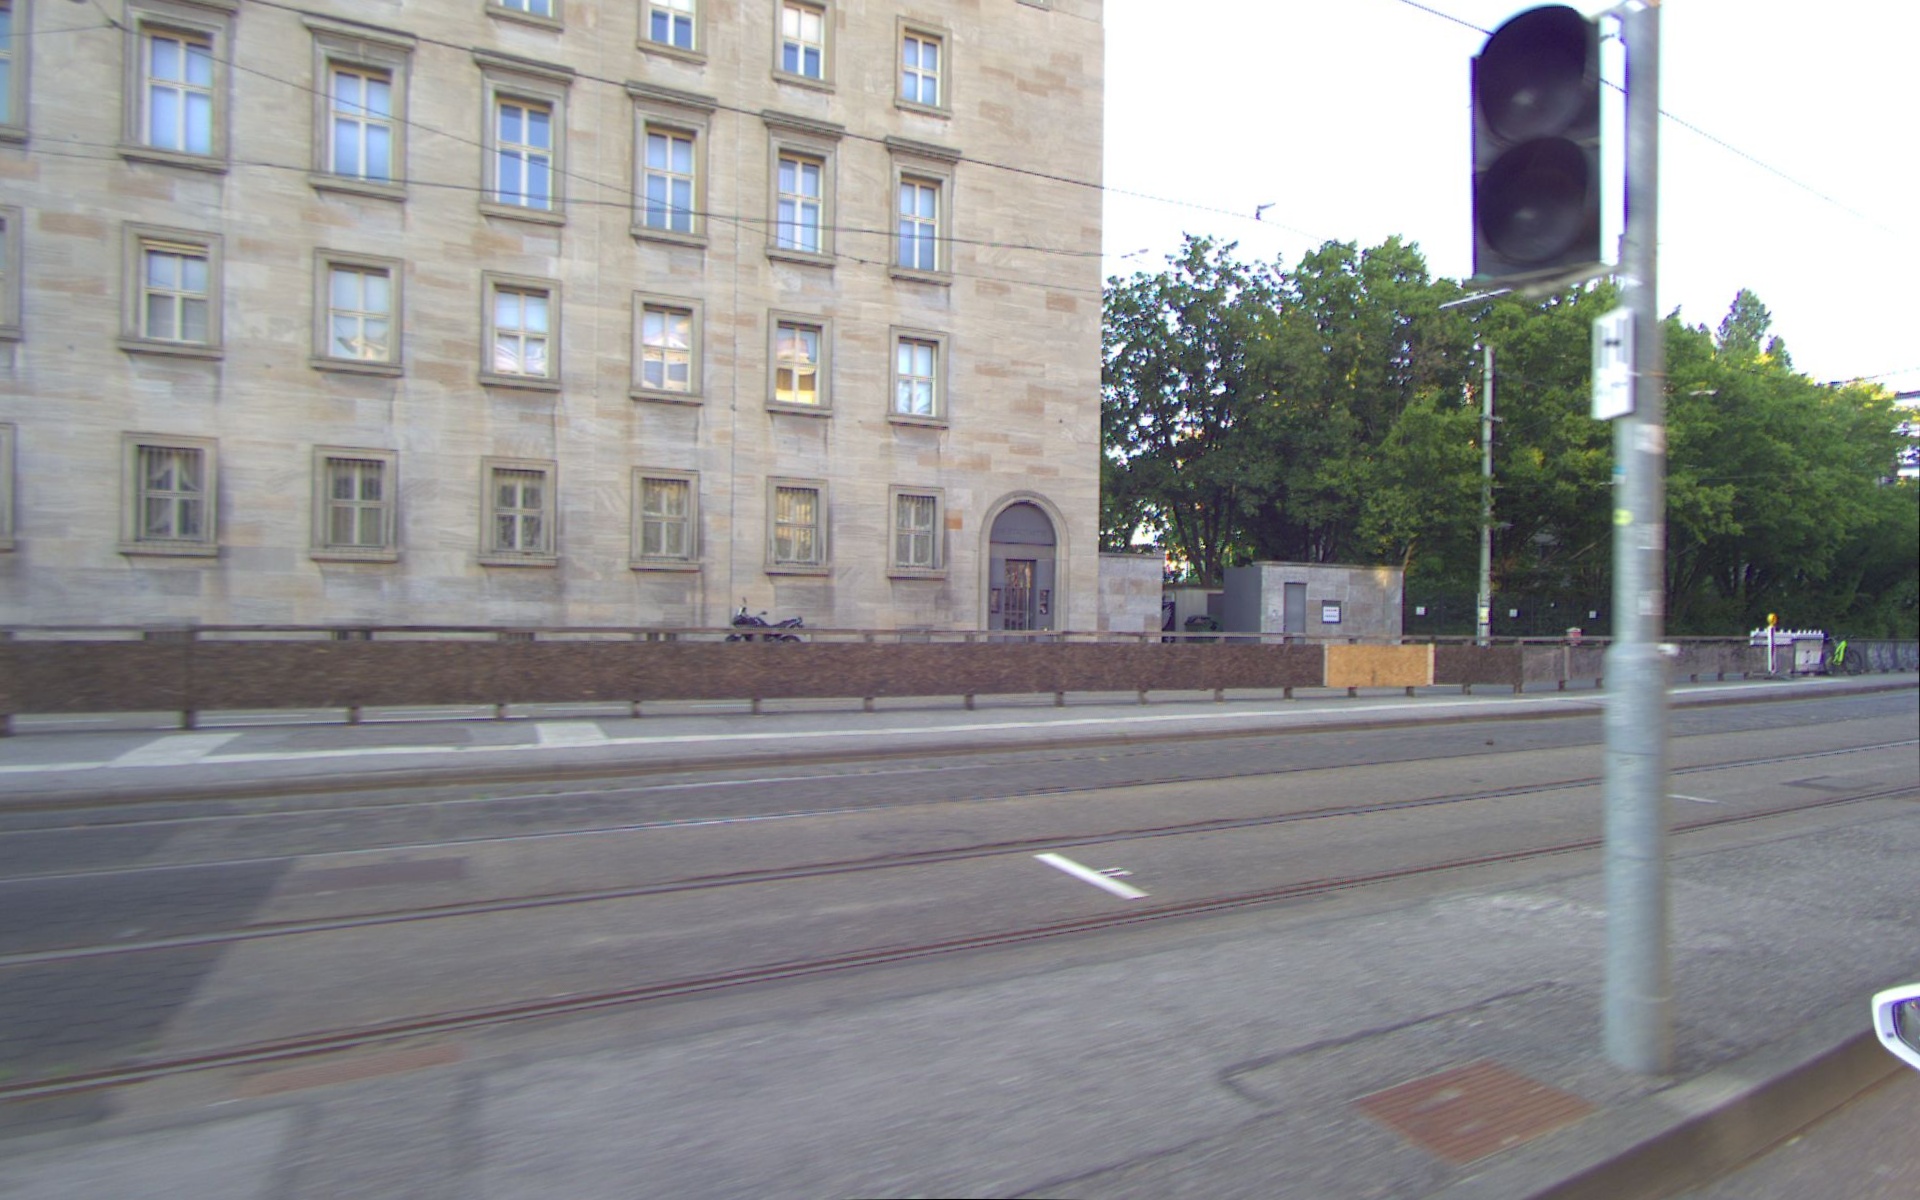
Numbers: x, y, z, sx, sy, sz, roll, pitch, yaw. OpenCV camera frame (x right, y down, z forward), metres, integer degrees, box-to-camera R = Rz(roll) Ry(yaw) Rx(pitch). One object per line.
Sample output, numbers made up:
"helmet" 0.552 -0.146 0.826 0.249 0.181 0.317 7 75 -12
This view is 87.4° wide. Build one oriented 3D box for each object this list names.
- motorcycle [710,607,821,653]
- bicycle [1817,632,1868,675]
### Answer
"motorcycle" -4.799 0.753 24.830 2.616 1.089 0.697 1 -1 -23
"bicycle" 23.221 1.401 26.419 1.999 1.089 0.460 1 -1 -32
